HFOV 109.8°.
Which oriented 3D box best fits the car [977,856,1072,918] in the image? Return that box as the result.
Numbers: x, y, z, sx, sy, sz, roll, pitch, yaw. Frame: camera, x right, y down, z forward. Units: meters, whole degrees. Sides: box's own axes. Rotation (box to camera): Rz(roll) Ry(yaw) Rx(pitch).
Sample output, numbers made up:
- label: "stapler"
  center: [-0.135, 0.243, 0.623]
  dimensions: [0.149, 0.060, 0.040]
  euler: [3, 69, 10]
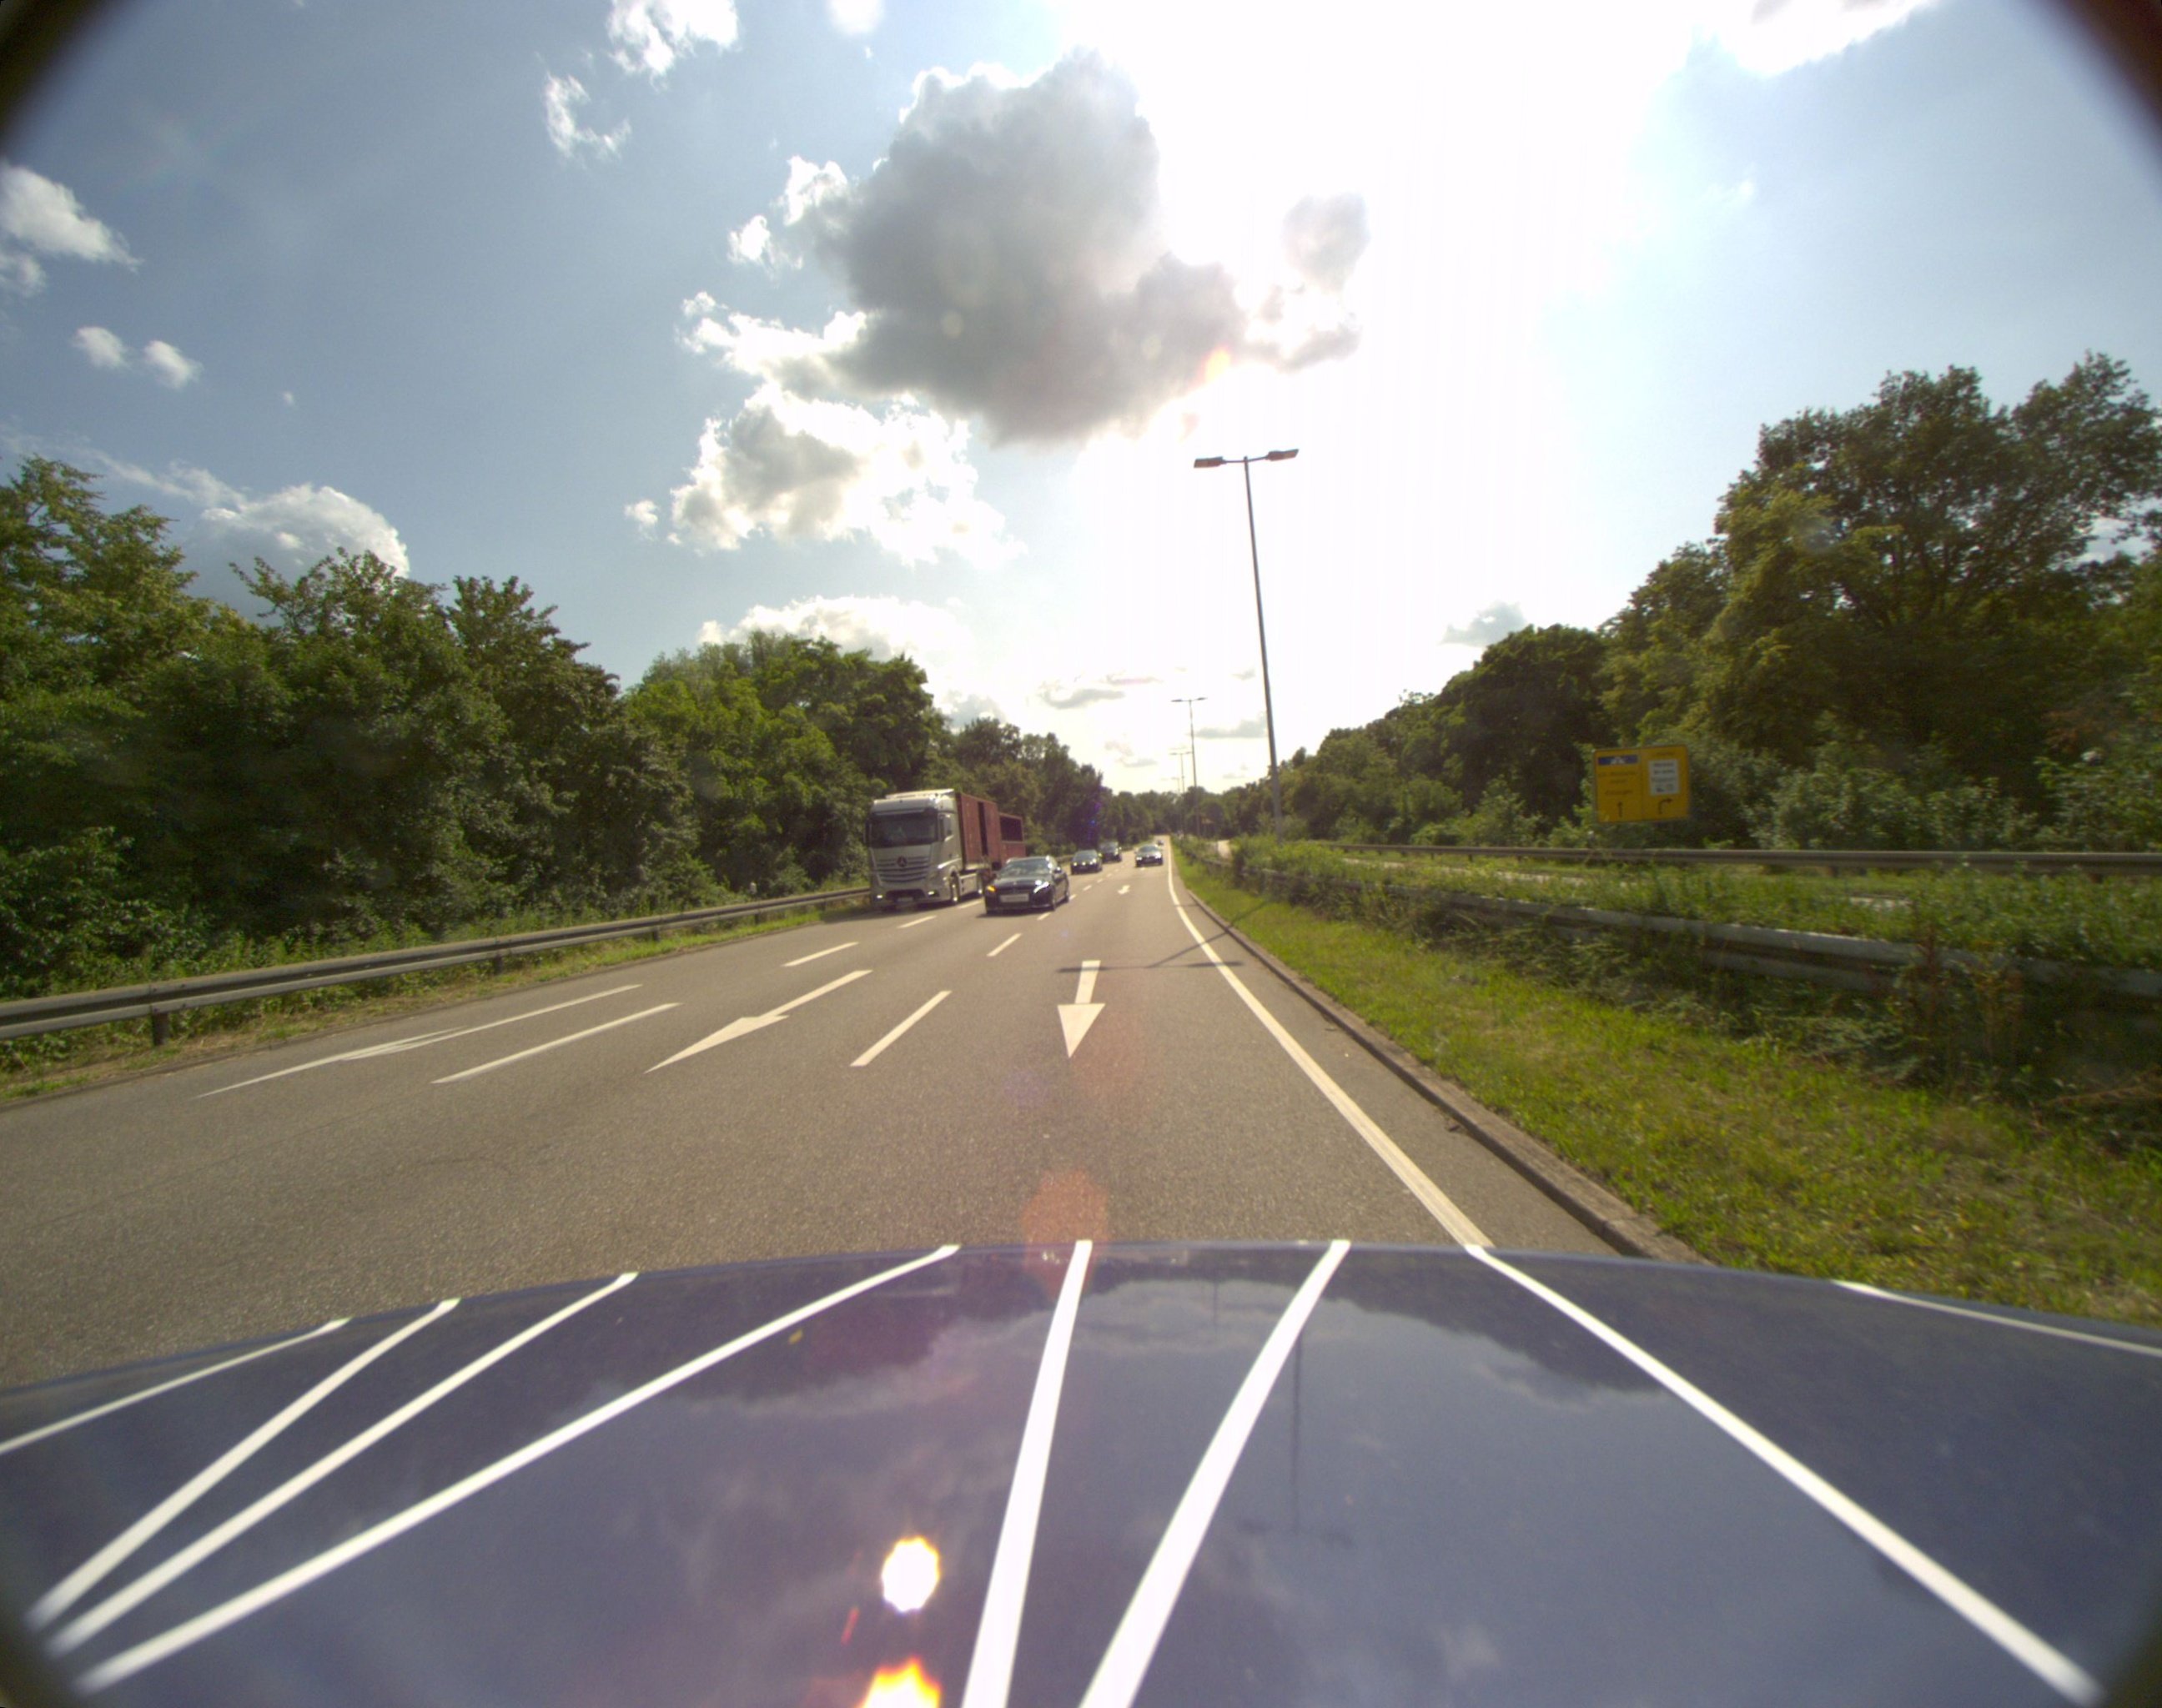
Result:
- label: "car"
  center: [-1.447, 0.833, 21.252]
  dimensions: [1.794, 1.427, 4.371]
  euler: [-3, 0, 6]

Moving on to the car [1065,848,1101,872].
- label: "car"
  center: [0.176, 0.367, 49.075]
  dimensions: [1.857, 1.402, 4.002]
  euler: [-3, 0, 6]

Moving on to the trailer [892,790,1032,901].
- label: "trailer"
  center: [-4.690, -0.312, 33.437]
  dimensions: [2.777, 3.827, 12.326]
  euler: [-4, 0, 6]

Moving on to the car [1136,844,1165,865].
- label: "car"
  center: [4.757, 0.053, 52.305]
  dimensions: [1.858, 1.354, 4.001]
  euler: [-2, 0, 4]

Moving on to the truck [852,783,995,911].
- label: "truck"
  center: [-5.350, -0.221, 27.220]
  dimensions: [2.775, 3.822, 6.823]
  euler: [-4, 0, 6]

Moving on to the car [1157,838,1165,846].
- label: "car"
  center: [20.815, -3.154, 197.481]
  dimensions: [1.976, 2.002, 4.000]
  euler: [-2, 1, 4]

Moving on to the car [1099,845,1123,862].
- label: "car"
  center: [2.760, -0.055, 69.012]
  dimensions: [1.857, 1.402, 4.002]
  euler: [-3, 0, 6]
